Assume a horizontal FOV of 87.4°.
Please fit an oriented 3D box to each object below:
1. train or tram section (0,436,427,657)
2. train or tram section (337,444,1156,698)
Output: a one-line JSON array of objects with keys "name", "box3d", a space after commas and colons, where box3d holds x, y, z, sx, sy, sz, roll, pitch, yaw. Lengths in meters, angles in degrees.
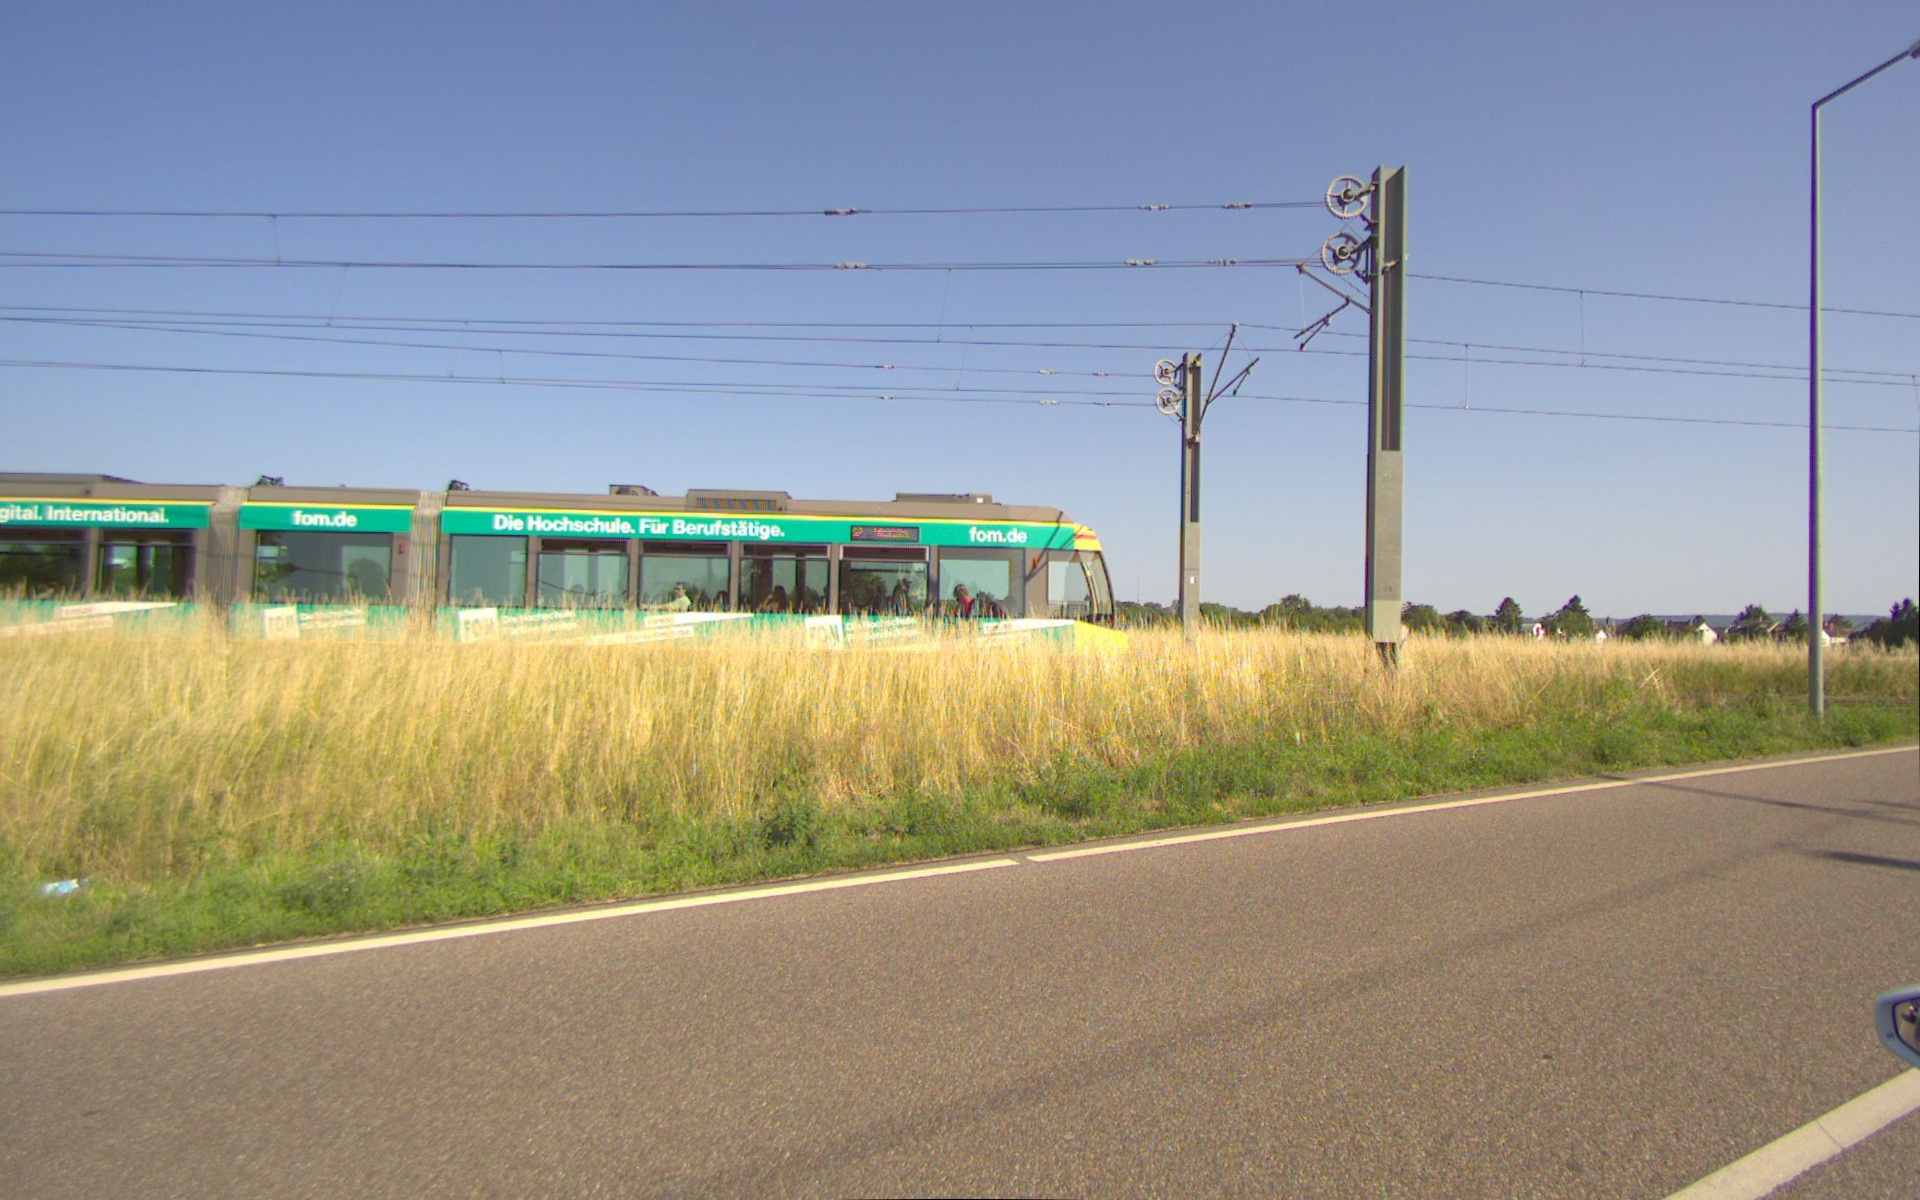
[{"name": "train or tram section", "box3d": [-16.615, -1.008, 18.341, 11.930, 3.500, 2.926, 2, 0, -3]}, {"name": "train or tram section", "box3d": [-3.627, -0.436, 19.036, 13.989, 3.615, 2.914, 3, 0, -4]}]
